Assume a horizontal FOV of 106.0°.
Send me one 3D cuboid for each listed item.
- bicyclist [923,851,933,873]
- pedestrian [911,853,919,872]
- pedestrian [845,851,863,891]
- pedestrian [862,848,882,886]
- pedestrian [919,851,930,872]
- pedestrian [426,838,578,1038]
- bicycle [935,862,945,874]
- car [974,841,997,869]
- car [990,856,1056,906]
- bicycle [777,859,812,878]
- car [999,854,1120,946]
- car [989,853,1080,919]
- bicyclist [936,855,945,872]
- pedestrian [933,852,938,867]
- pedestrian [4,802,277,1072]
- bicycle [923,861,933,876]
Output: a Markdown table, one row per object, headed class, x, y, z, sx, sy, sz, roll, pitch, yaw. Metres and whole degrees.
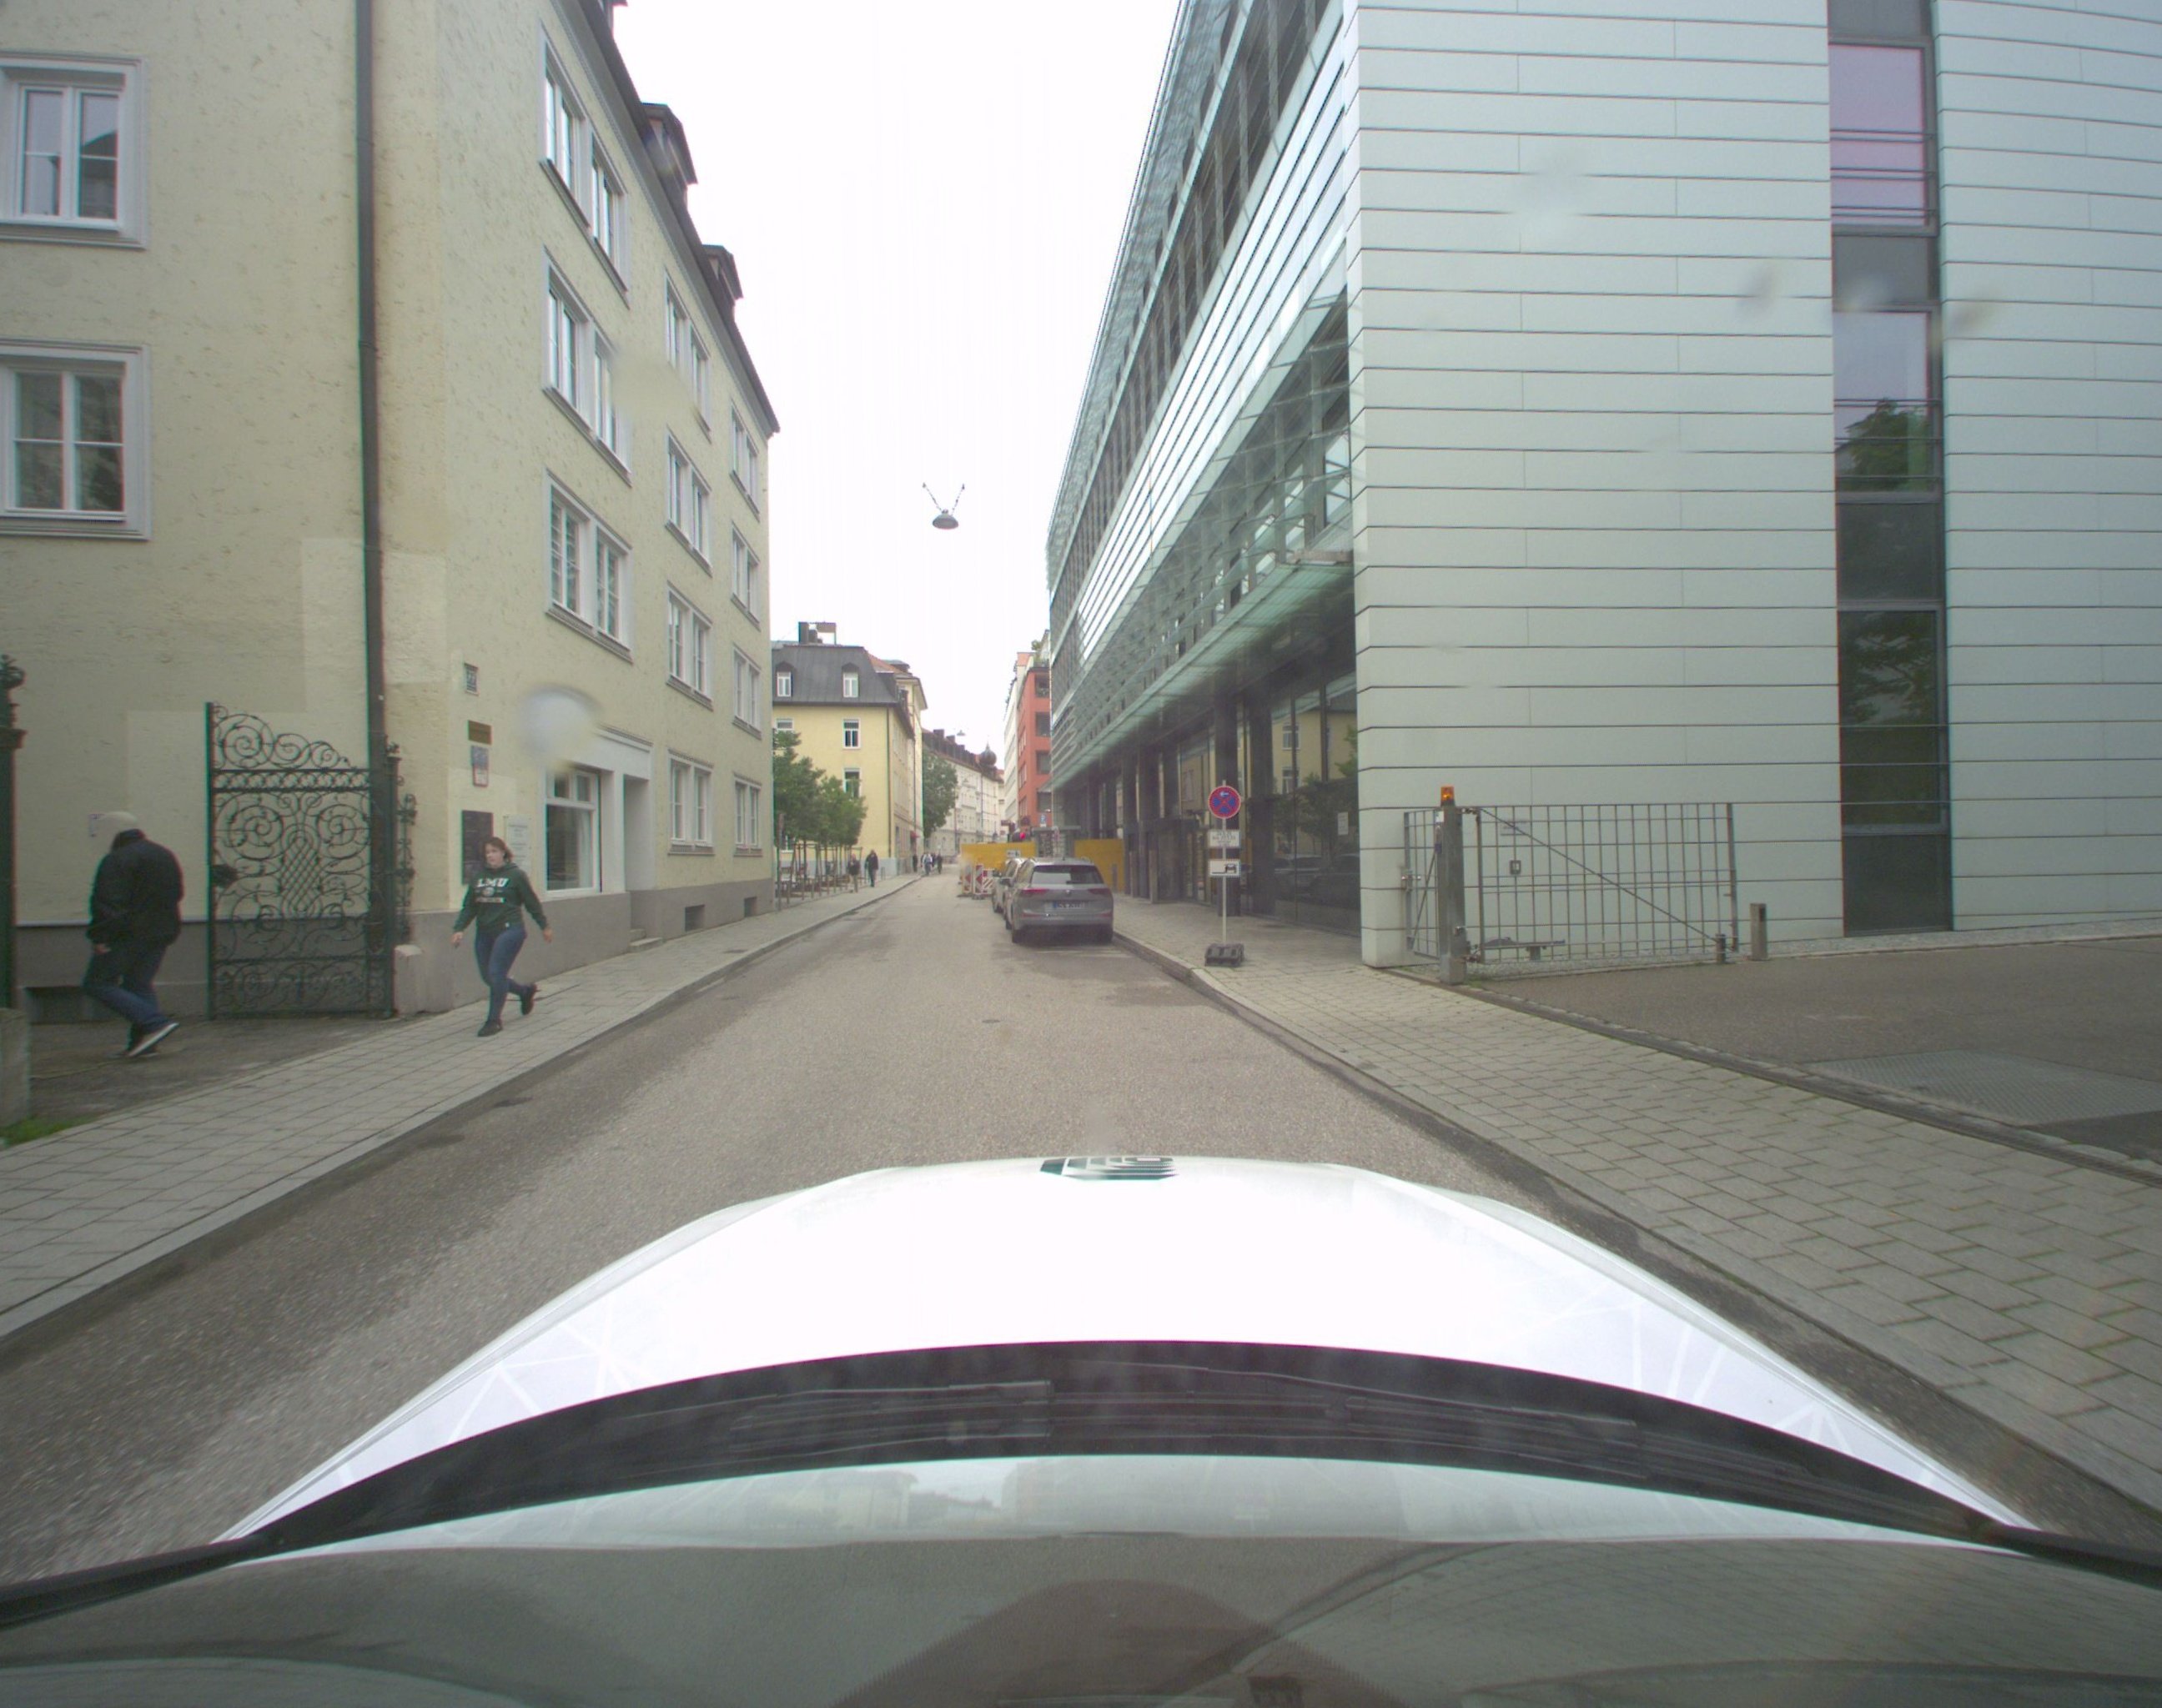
| class | x | y | z | sx | sy | sz | roll | pitch | yaw |
| --- | --- | --- | --- | --- | --- | --- | --- | --- | --- |
| bicyclist | -11.340 | 0.582 | 60.376 | 0.659 | 1.643 | 0.892 | -1 | 0 | -9 |
| pedestrian | -13.873 | 0.704 | 68.041 | 0.670 | 1.648 | 0.759 | 0 | -1 | -9 |
| pedestrian | -9.589 | 0.713 | 34.450 | 0.647 | 1.676 | 0.721 | 0 | -1 | -9 |
| pedestrian | -10.387 | 0.651 | 40.551 | 0.867 | 1.881 | 1.131 | 0 | -1 | -9 |
| pedestrian | -13.040 | 0.636 | 67.715 | 0.839 | 1.700 | 0.800 | 0 | -1 | -9 |
| pedestrian | -5.159 | 0.712 | 7.324 | 0.712 | 1.666 | 0.927 | 2 | -1 | -9 |
| bicycle | -11.178 | 1.142 | 64.756 | 0.707 | 0.905 | 1.804 | -1 | 0 | -9 |
| car | -9.094 | 0.074 | 77.017 | 1.993 | 2.536 | 4.960 | 0 | 0 | -9 |
| car | -1.900 | 0.797 | 25.532 | 1.707 | 1.414 | 4.496 | 0 | -1 | -8 |
| bicycle | -18.389 | 0.935 | 52.239 | 2.038 | 1.197 | 0.569 | 0 | 0 | -2 |
| car | -0.552 | 0.741 | 15.193 | 1.707 | 1.432 | 4.316 | -1 | 0 | -9 |
| car | -1.274 | 0.732 | 20.424 | 1.708 | 1.467 | 4.220 | 1 | -1 | -12 |
| bicyclist | -11.183 | 0.757 | 64.783 | 0.707 | 1.371 | 0.811 | -1 | 0 | -9 |
| pedestrian | -16.284 | 0.638 | 91.147 | 0.634 | 1.675 | 0.516 | 0 | 0 | -9 |
| pedestrian | -6.912 | 0.559 | 6.059 | 0.953 | 1.827 | 0.905 | -1 | 0 | -9 |
| bicycle | -11.307 | 1.062 | 60.240 | 0.661 | 1.039 | 1.998 | -1 | 0 | -8 |
